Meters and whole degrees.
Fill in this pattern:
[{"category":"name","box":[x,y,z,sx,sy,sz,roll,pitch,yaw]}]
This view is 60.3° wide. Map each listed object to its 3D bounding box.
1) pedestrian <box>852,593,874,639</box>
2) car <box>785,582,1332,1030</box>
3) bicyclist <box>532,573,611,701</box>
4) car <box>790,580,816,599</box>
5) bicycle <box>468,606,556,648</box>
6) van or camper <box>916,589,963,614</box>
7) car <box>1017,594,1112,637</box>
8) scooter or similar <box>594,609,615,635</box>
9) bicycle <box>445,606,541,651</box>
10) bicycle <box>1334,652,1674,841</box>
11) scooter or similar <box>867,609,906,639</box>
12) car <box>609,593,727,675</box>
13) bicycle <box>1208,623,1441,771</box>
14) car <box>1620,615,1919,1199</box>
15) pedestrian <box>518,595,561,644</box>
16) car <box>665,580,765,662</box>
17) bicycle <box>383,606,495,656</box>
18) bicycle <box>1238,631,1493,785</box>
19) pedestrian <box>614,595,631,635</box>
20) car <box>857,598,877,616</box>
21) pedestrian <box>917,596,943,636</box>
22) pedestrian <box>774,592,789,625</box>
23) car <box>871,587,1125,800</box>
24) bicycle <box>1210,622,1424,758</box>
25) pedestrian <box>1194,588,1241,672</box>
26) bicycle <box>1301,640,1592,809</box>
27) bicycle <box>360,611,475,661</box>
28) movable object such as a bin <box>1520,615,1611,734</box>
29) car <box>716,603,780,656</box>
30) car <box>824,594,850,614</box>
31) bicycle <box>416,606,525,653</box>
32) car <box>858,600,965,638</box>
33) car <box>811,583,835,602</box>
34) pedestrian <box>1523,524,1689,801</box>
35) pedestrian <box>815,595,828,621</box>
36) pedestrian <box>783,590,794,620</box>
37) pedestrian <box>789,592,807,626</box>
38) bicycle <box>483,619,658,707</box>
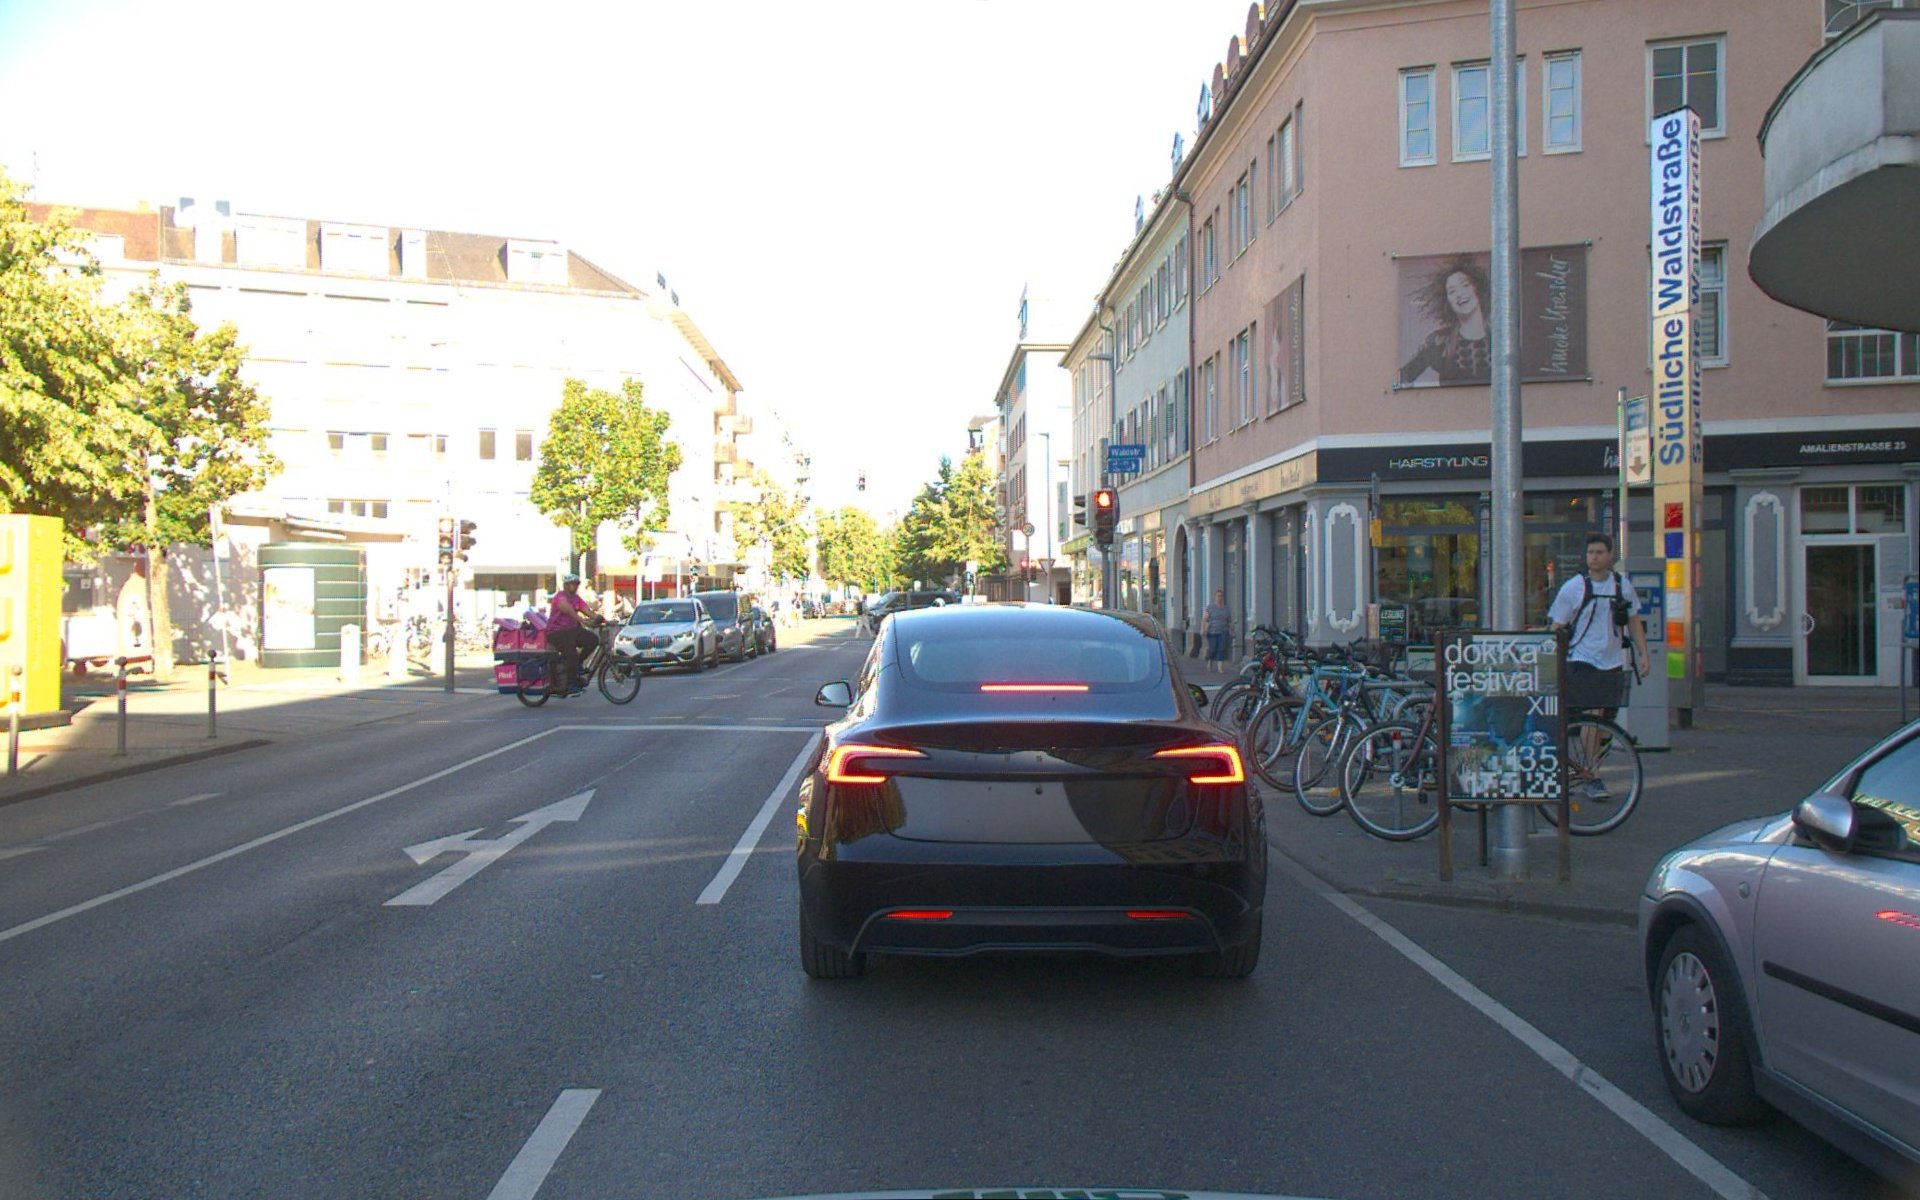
[{"category":"pedestrian","box":[-3.800,0.623,64.516,0.649,1.790,0.649,1,-1,-24]},{"category":"car","box":[0.301,0.700,7.760,1.812,1.472,4.450,1,0,-1]},{"category":"bicyclist","box":[-5.686,0.542,24.238,0.846,1.786,0.681,-4,-2,7]},{"category":"car","box":[-17.010,-1.129,179.396,2.228,2.049,4.717,1,0,0]},{"category":"bicycle","box":[-14.058,0.851,51.907,2.491,1.273,0.942,1,0,-4]},{"category":"van or camper","box":[-2.060,0.171,167.509,4.752,2.481,1.850,0,0,-1]},{"category":"car","box":[4.717,0.702,74.729,3.937,1.900,1.686,0,0,-22]},{"category":"scooter or similar","box":[-13.839,0.851,64.307,0.774,0.974,0.462,1,-1,-14]},{"category":"bicycle","box":[-14.006,0.846,49.632,2.609,1.281,0.942,1,0,-4]},{"category":"bicycle","box":[3.281,0.874,10.080,1.844,1.062,0.653,-1,0,0]},{"category":"scooter or similar","box":[-2.888,0.945,64.919,1.317,1.154,0.803,1,-1,-25]},{"category":"car","box":[-6.320,0.711,36.226,1.788,1.592,4.299,-4,0,-1]},{"category":"bicycle","box":[2.980,0.783,13.628,1.776,1.172,0.653,0,0,0]},{"category":"car","box":[2.923,0.781,3.526,1.551,1.451,3.579,1,0,-1]},{"category":"pedestrian","box":[-14.424,0.657,56.746,1.082,1.639,1.252,1,-1,-33]},{"category":"car","box":[-6.228,0.506,42.554,1.906,1.981,4.819,0,0,-1]},{"category":"bicycle","box":[-14.120,0.844,44.912,2.725,1.296,0.932,1,0,-4]},{"category":"bicycle","box":[3.052,0.804,12.555,1.776,1.121,0.653,0,0,0]},{"category":"pedestrian","box":[-13.157,0.581,64.476,0.613,1.550,0.577,1,-1,-14]},{"category":"car","box":[-10.493,0.829,186.956,2.089,2.004,4.133,0,0,-1]},{"category":"pedestrian","box":[-1.211,0.654,67.211,0.800,1.637,0.700,1,-1,-38]},{"category":"pedestrian","box":[-10.462,0.500,97.136,0.721,1.900,0.787,1,-1,-17]},{"category":"car","box":[0.245,0.685,14.184,1.812,1.507,4.450,1,0,-1]},{"category":"bicycle","box":[3.164,0.791,14.765,1.776,1.172,0.653,0,0,0]},{"category":"pedestrian","box":[4.929,0.571,31.735,0.773,1.576,0.724,1,-1,0]},{"category":"bicycle","box":[3.252,0.821,11.152,1.776,1.078,0.653,0,0,0]},{"category":"bicycle","box":[-13.946,0.926,42.575,2.607,1.216,0.942,1,0,-4]},{"category":"movable object such as a bin","box":[6.044,0.731,16.530,0.623,1.122,0.728,-2,0,3]},{"category":"car","box":[-6.332,0.854,49.681,1.431,1.455,3.605,-3,0,-1]},{"category":"car","box":[-12.337,0.395,166.252,2.365,2.004,4.677,0,0,-1]},{"category":"bicycle","box":[-13.997,0.831,47.314,2.818,1.292,0.942,1,0,-4]},{"category":"car","box":[-2.453,0.937,83.401,5.124,1.899,1.871,0,0,-23]},{"category":"car","box":[-15.593,-0.817,188.051,2.228,2.049,4.717,1,0,0]},{"category":"pedestrian","box":[4.525,0.419,11.649,0.792,1.855,0.983,1,-1,2]},{"category":"pedestrian","box":[-10.184,0.608,121.725,0.684,1.900,0.904,1,-1,-20]},{"category":"pedestrian","box":[-10.761,0.313,103.704,0.681,1.900,0.658,1,-1,-6]},{"category":"pedestrian","box":[-9.276,0.511,94.718,0.719,1.900,0.790,1,-1,28]},{"category":"bicycle","box":[-5.692,0.921,24.223,2.339,1.171,0.713,-2,-1,6]}]
